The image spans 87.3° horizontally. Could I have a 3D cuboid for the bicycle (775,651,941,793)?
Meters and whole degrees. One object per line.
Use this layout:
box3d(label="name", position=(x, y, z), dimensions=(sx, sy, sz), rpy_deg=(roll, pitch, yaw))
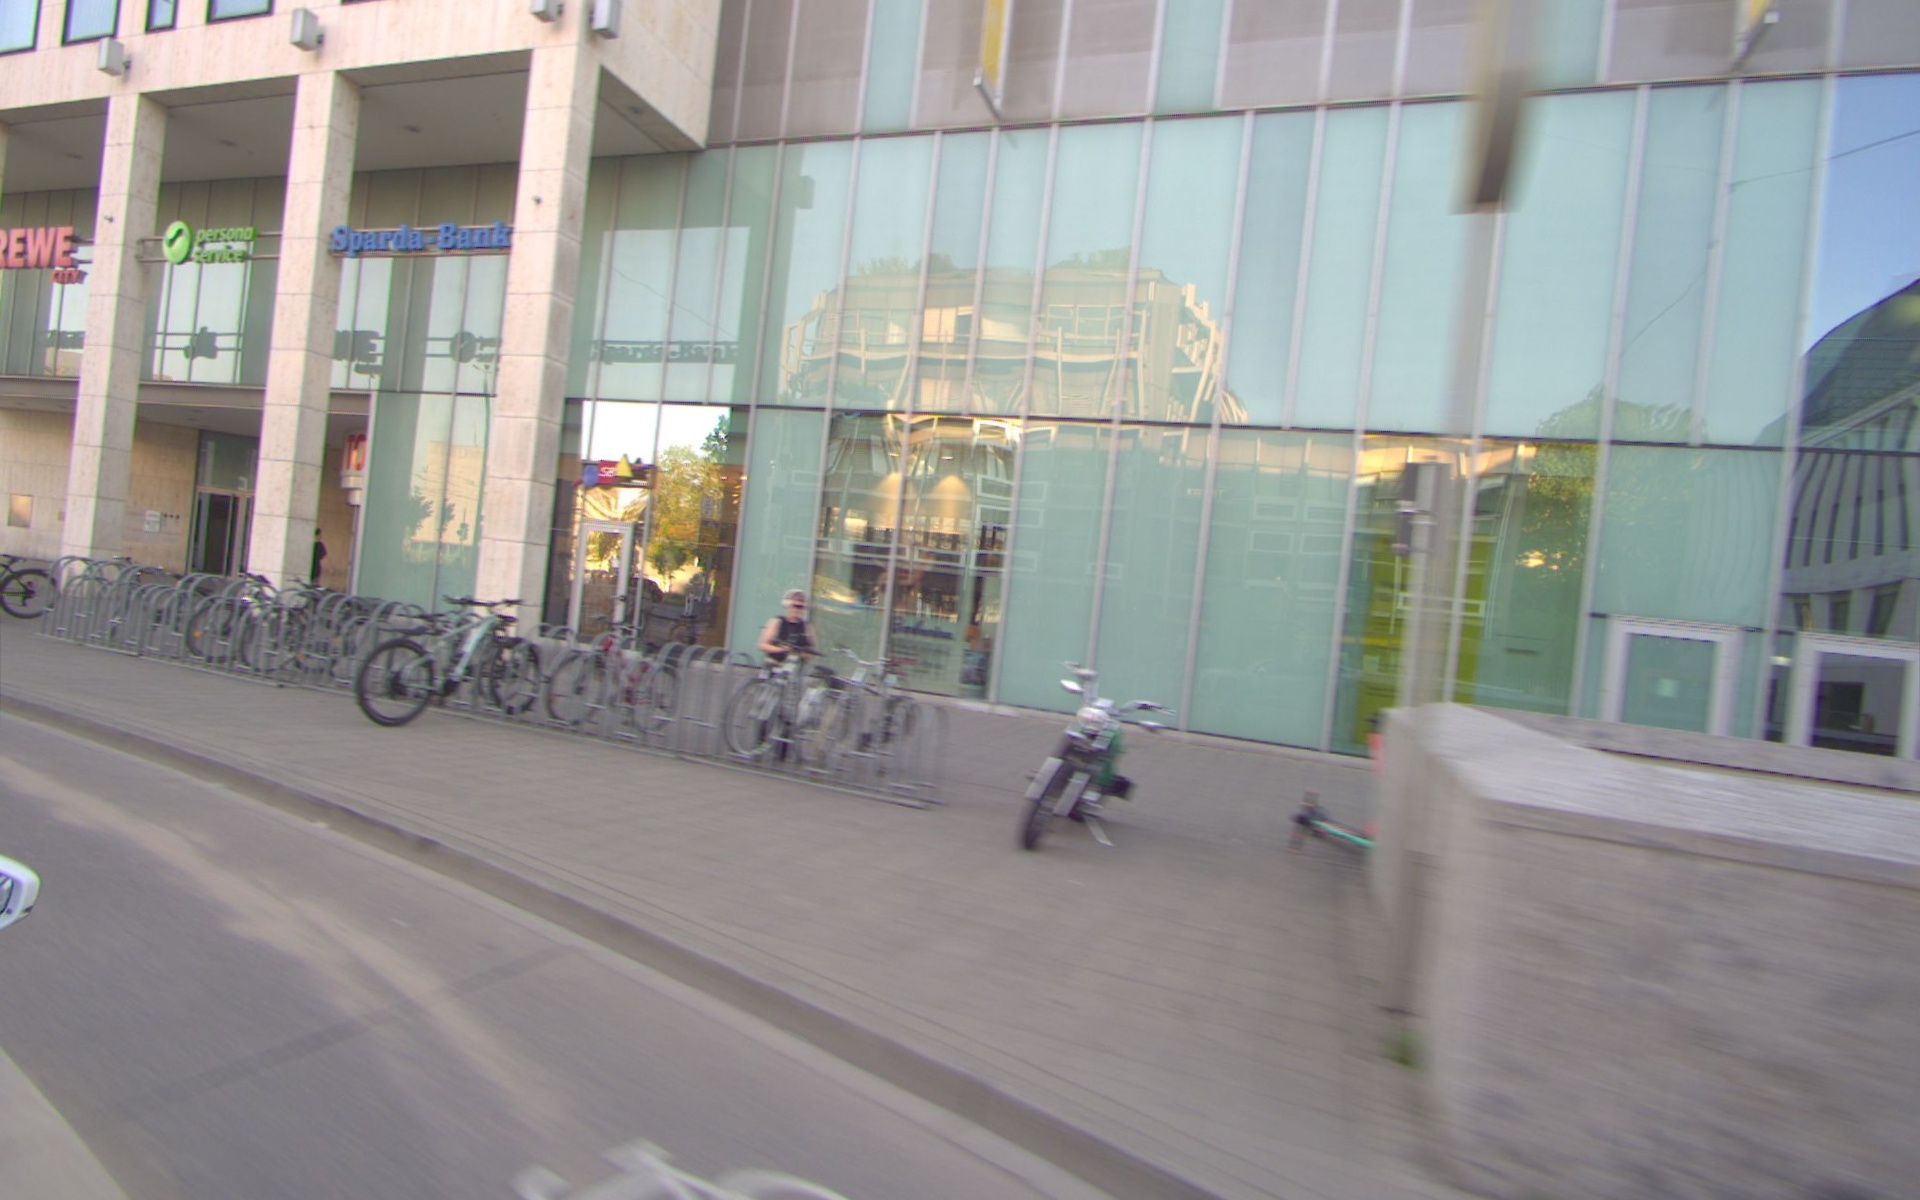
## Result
box3d(label="bicycle", position=(-0.895, 1.094, 9.480), dimensions=(0.507, 1.143, 1.993), rpy_deg=(6, -1, 25))

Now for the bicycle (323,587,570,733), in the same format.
box3d(label="bicycle", position=(-4.577, 0.544, 9.159), dimensions=(0.560, 1.143, 1.993), rpy_deg=(6, -1, 25))

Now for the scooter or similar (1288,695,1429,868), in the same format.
box3d(label="scooter or similar", position=(3.400, 1.520, 8.655), dimensions=(0.393, 1.272, 1.113), rpy_deg=(6, -1, -18))

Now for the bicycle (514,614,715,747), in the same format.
box3d(label="bicycle", position=(-3.359, 0.825, 10.018), dimensions=(0.546, 1.142, 1.995), rpy_deg=(6, -3, 25))

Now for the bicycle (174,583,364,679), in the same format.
box3d(label="bicycle", position=(-7.755, 0.366, 11.390), dimensions=(0.507, 0.948, 1.744), rpy_deg=(6, -1, 19))

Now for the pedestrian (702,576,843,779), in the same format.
box3d(label="pedestrian", position=(-1.769, 0.718, 9.549), dimensions=(0.805, 1.757, 0.837), rpy_deg=(6, 0, 28))

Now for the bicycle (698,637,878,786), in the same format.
box3d(label="bicycle", position=(-1.534, 0.998, 9.397), dimensions=(0.507, 1.193, 1.993), rpy_deg=(6, 0, 25))

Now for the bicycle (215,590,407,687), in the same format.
box3d(label="bicycle", position=(-7.160, 0.440, 11.212), dimensions=(0.507, 0.948, 1.814), rpy_deg=(6, -1, 19))

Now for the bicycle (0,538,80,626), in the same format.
box3d(label="bicycle", position=(-13.318, -0.306, 13.696), dimensions=(0.590, 1.112, 1.822), rpy_deg=(6, -3, 27))

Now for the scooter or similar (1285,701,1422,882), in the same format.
box3d(label="scooter or similar", position=(3.162, 1.508, 8.092), dimensions=(0.855, 1.272, 0.398), rpy_deg=(6, 0, 31))

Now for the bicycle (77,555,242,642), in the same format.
box3d(label="bicycle", position=(-10.661, 0.011, 13.475), dimensions=(0.589, 1.036, 1.709), rpy_deg=(6, -1, 9))

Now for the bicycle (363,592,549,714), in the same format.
box3d(label="bicycle", position=(-5.291, 0.570, 10.686), dimensions=(0.507, 1.143, 1.770), rpy_deg=(6, 0, 23))

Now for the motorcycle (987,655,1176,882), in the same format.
box3d(label="motorcycle", position=(1.013, 1.142, 7.644), dimensions=(0.890, 1.349, 2.306), rpy_deg=(6, -1, 18))

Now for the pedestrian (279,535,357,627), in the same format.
box3d(label="pedestrian", position=(-13.474, -0.383, 21.119), dimensions=(0.972, 1.800, 0.863), rpy_deg=(6, 2, 19))
